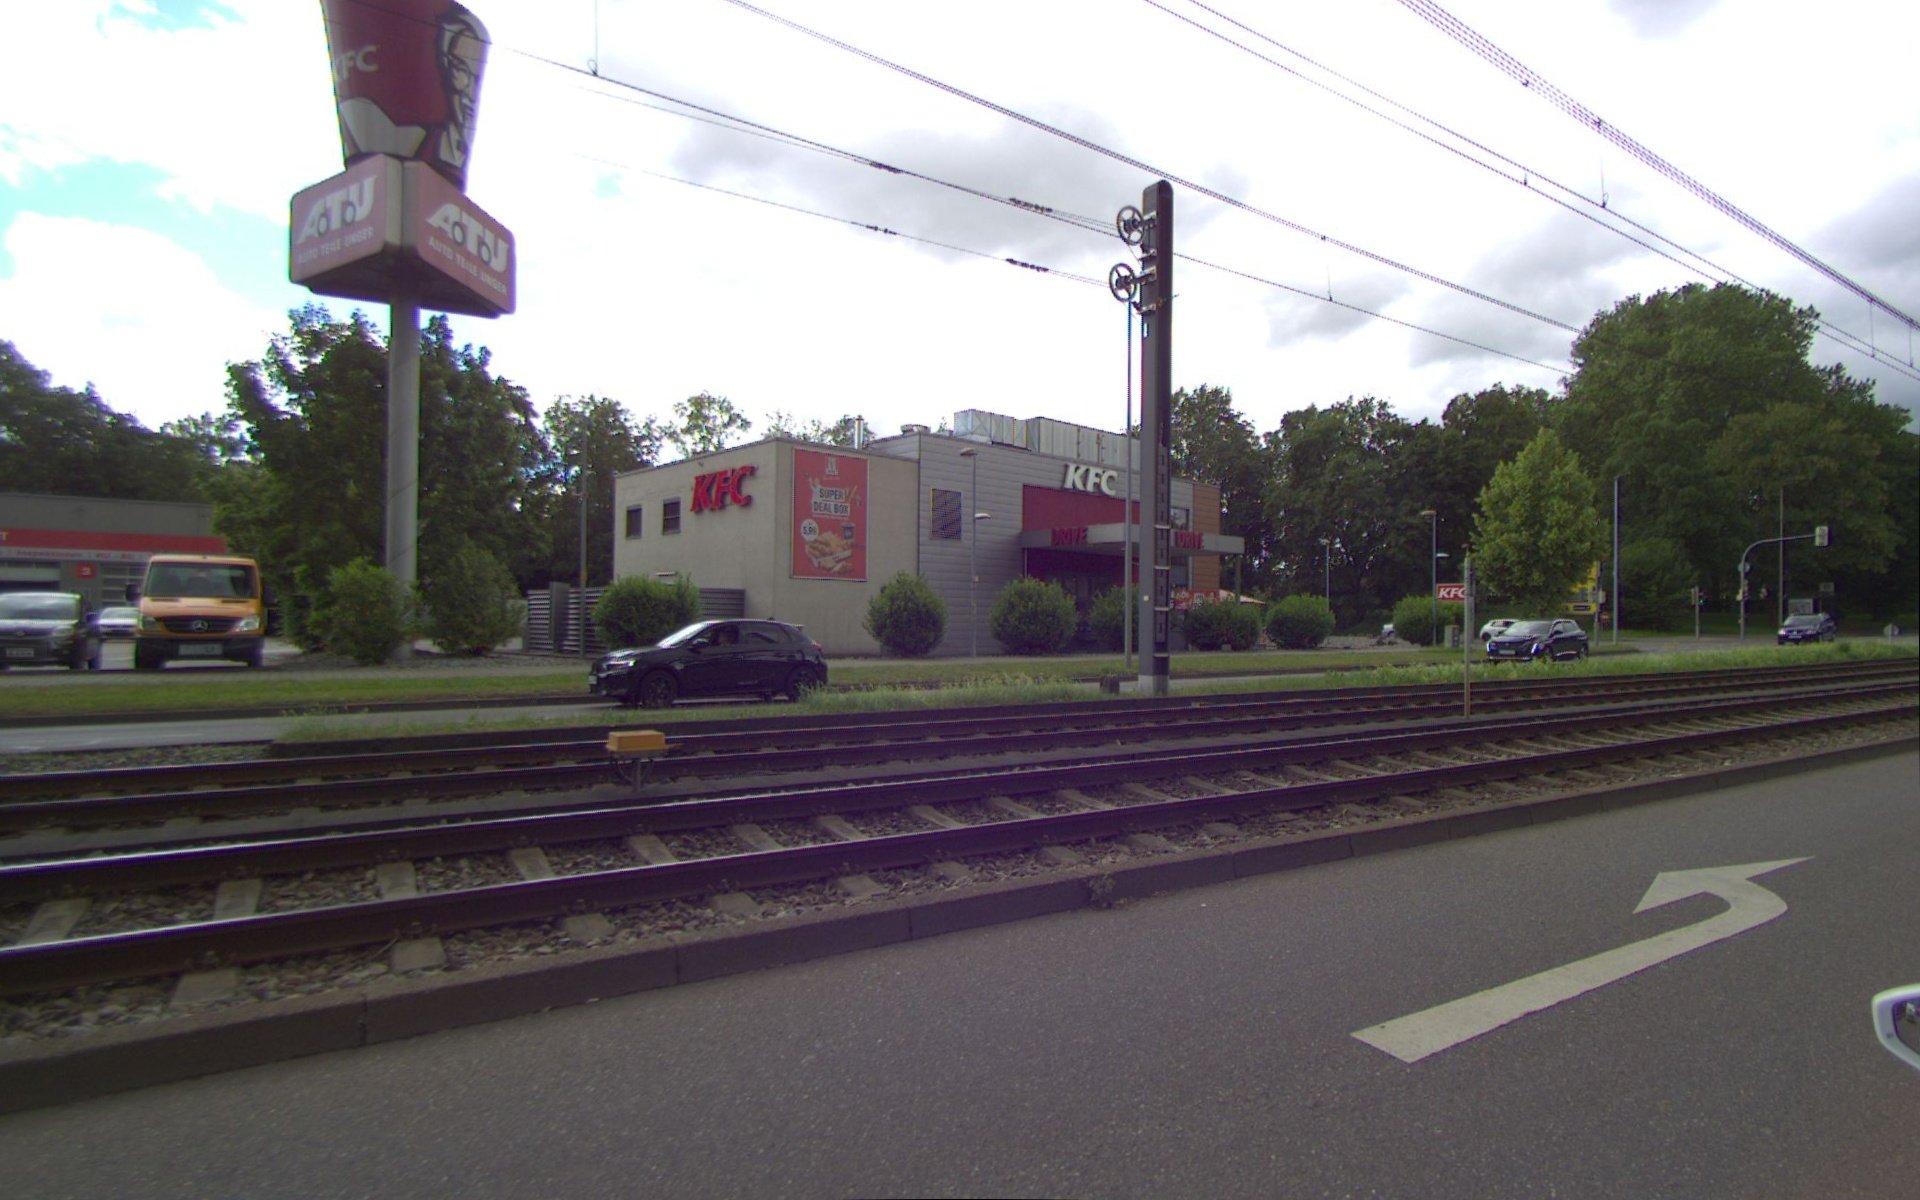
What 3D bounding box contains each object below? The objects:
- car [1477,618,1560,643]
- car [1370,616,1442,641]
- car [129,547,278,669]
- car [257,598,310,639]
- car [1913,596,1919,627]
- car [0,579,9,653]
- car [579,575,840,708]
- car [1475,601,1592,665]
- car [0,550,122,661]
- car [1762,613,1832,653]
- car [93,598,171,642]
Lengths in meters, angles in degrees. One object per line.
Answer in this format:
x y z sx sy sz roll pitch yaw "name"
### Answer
32.725 1.766 58.902 1.828 1.426 3.854 1 -1 -34 "car"
28.855 1.840 65.089 1.828 1.572 3.962 1 -1 -34 "car"
-15.048 0.103 20.191 2.036 2.194 3.964 1 1 -33 "car"
-30.706 0.824 45.612 1.901 1.644 3.704 1 1 -34 "car"
67.243 0.805 68.989 4.844 2.040 1.978 1 -2 -39 "car"
-27.248 0.466 26.934 1.932 2.041 3.704 1 1 -34 "car"
-4.282 0.705 17.389 3.963 2.040 1.980 1 -3 -37 "car"
19.464 1.090 34.027 4.208 2.040 1.979 1 -1 -37 "car"
-17.778 0.040 19.345 1.978 1.944 3.964 1 1 -32 "car"
44.377 1.733 53.237 4.069 2.040 1.979 1 -1 -37 "car"
-34.325 0.807 41.753 1.978 1.614 3.964 1 1 -32 "car"
